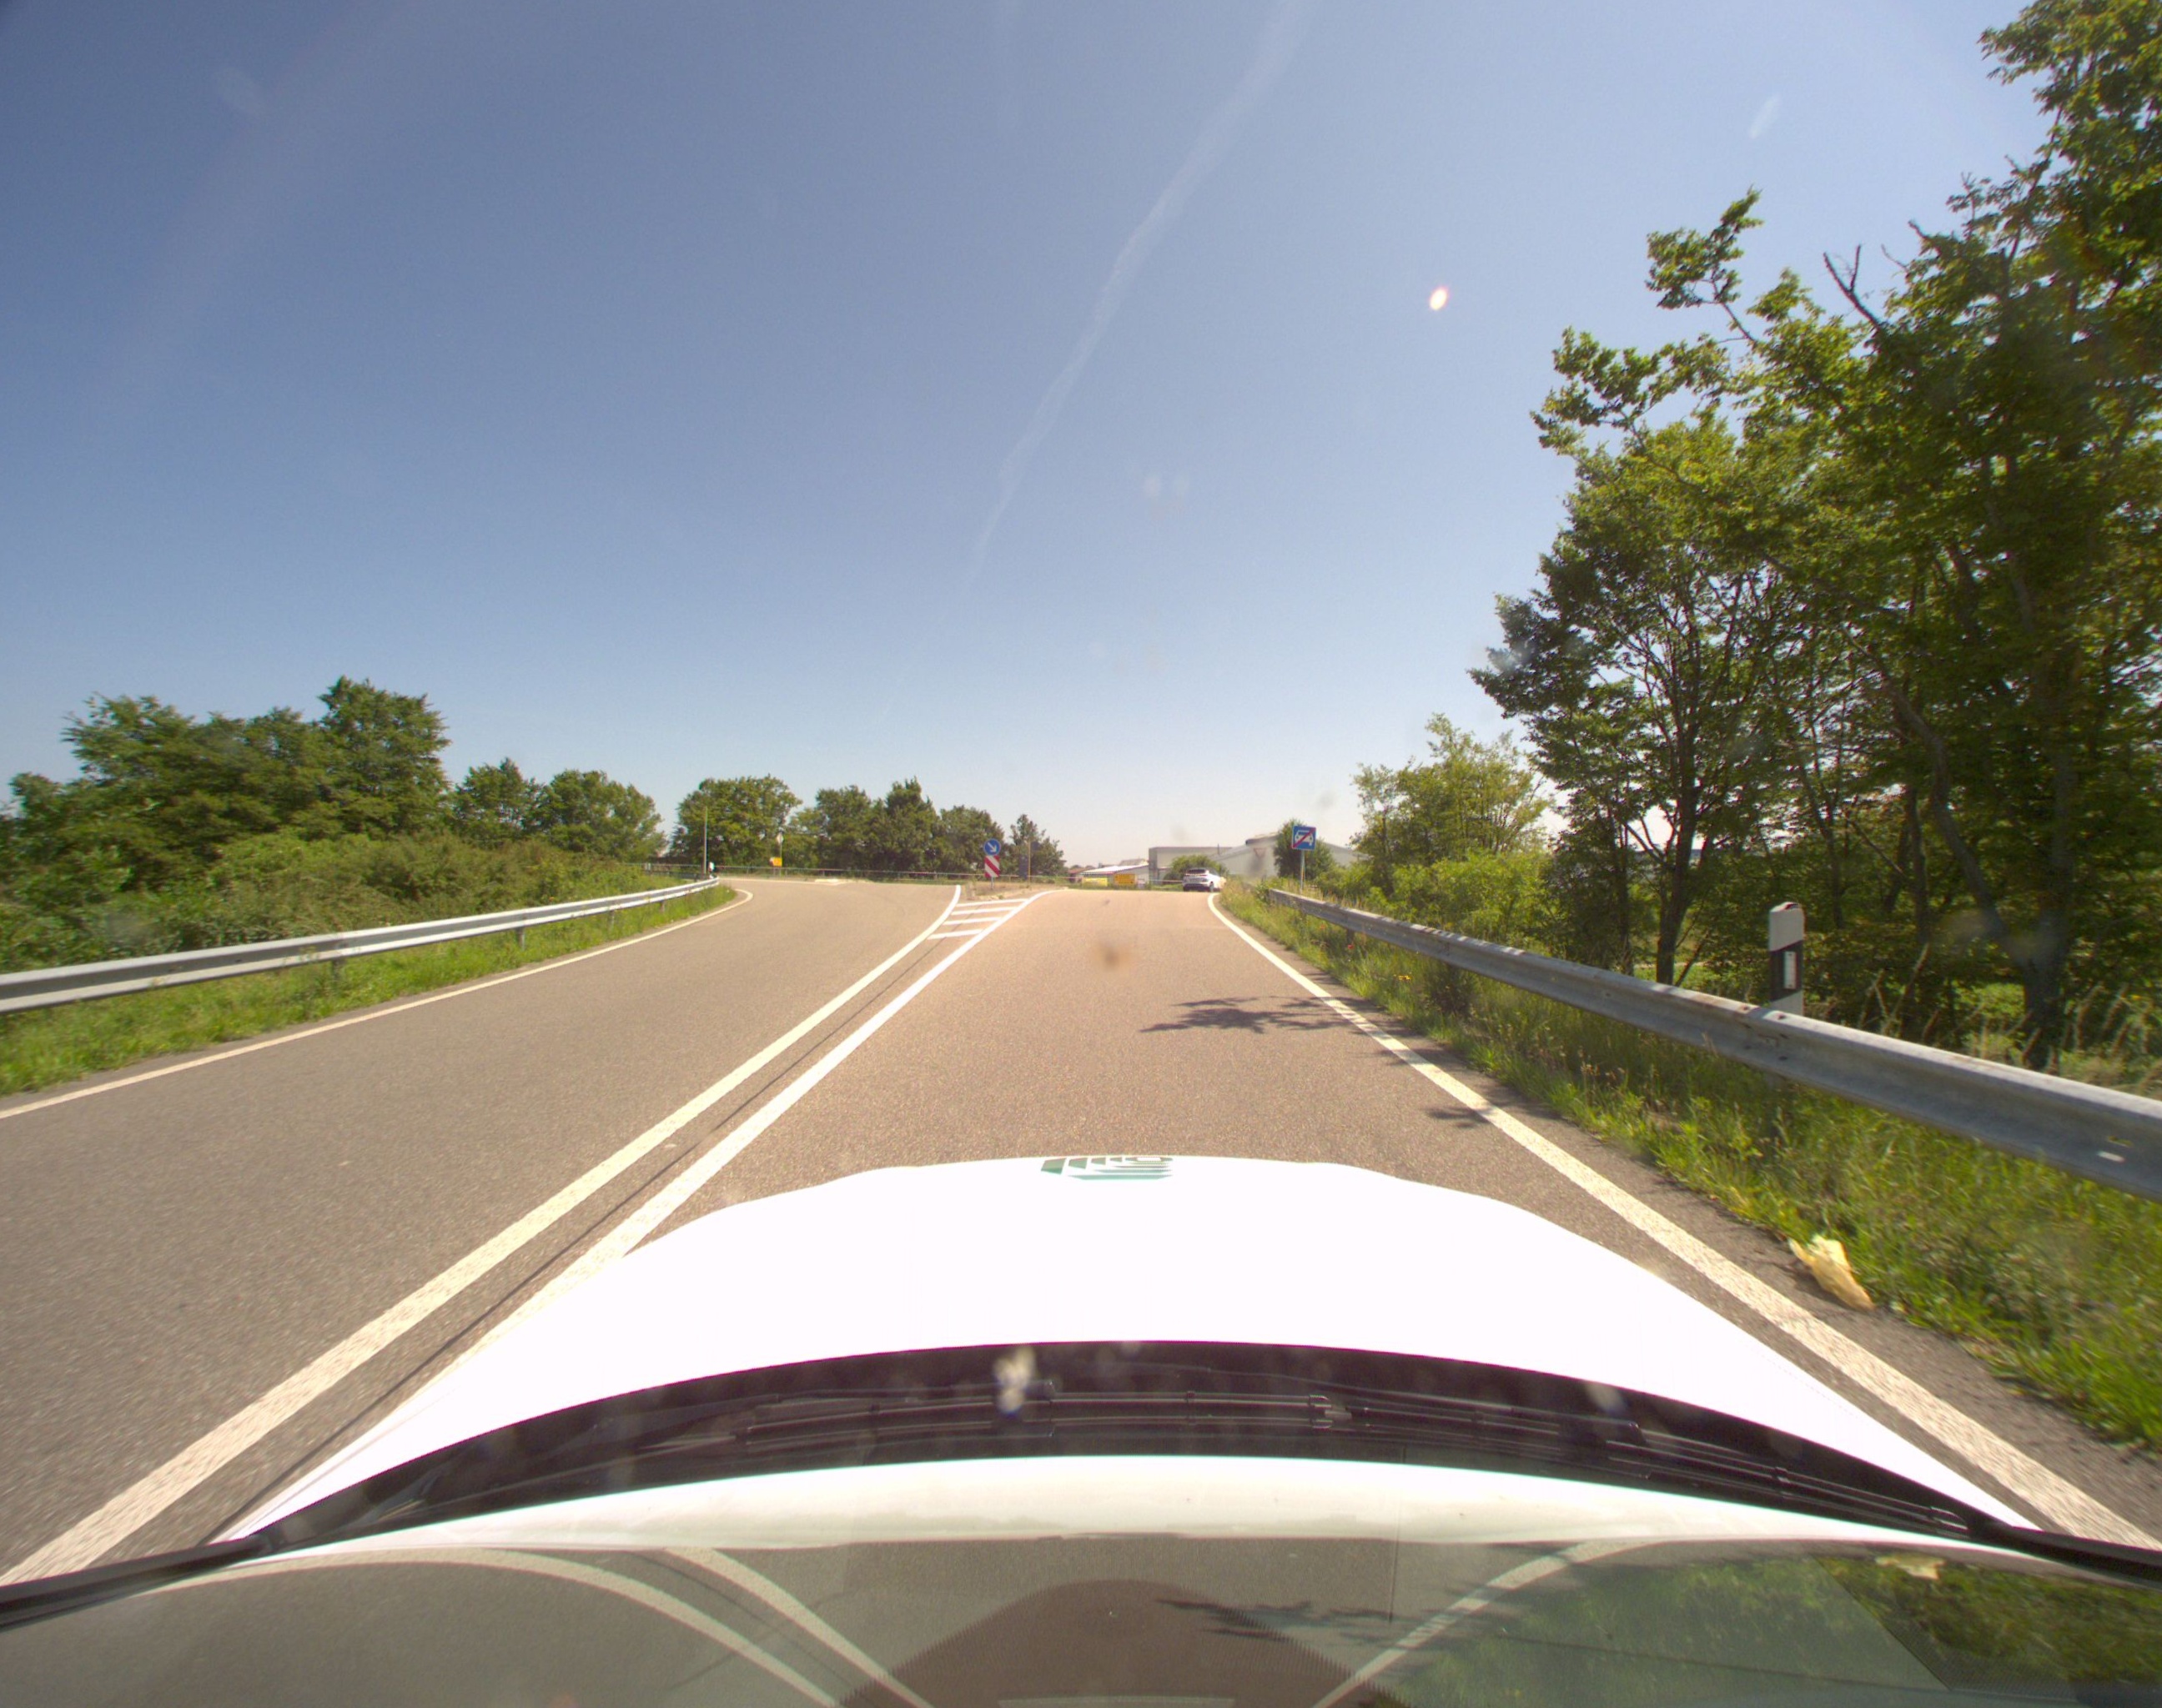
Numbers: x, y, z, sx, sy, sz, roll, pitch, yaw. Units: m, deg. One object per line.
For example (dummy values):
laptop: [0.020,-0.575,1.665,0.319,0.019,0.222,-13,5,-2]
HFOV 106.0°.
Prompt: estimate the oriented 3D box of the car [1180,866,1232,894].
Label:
car: [7.901,1.618,51.250,1.791,1.691,4.025,-2,-2,32]
